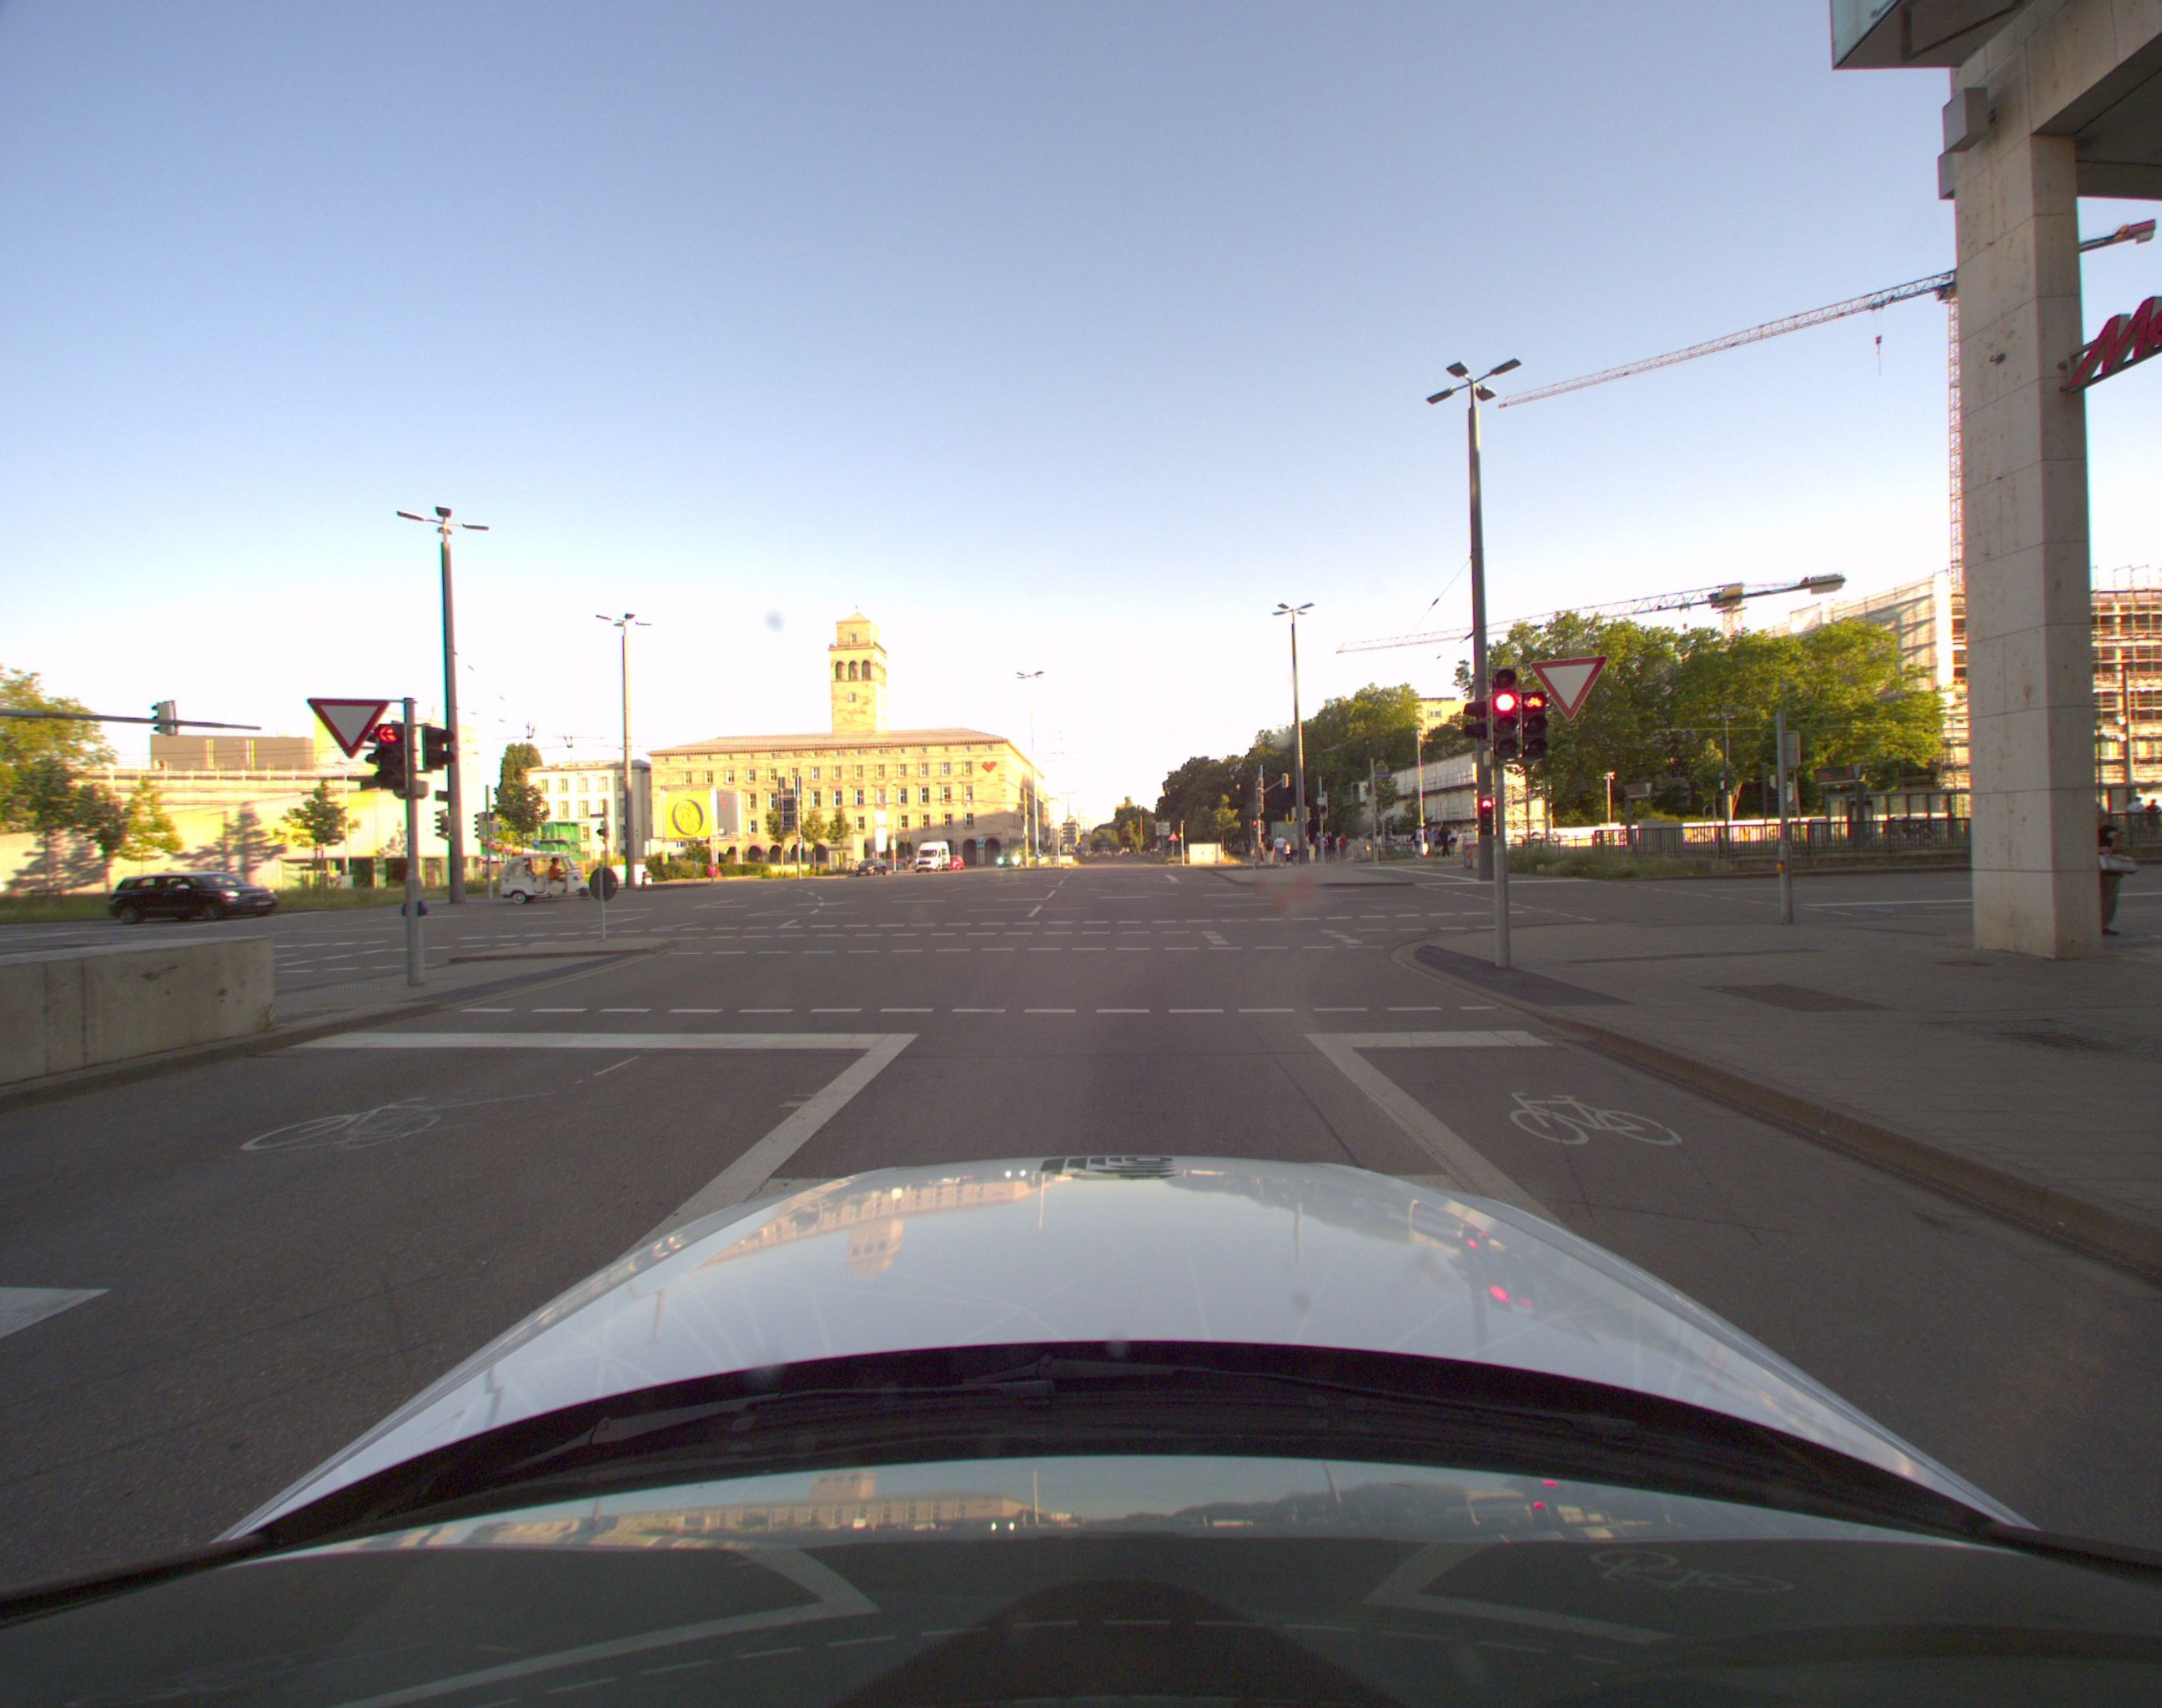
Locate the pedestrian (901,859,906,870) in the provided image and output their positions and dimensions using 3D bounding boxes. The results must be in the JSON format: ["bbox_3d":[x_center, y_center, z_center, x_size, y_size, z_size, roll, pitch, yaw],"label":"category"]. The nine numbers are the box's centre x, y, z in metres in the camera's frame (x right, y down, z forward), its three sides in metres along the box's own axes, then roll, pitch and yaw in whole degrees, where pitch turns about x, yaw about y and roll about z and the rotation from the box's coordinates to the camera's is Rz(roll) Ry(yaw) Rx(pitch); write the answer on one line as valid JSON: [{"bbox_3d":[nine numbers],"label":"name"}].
[{"bbox_3d":[-20.849,1.248,95.654,0.504,1.300,0.700,0,-1,-3],"label":"pedestrian"}]

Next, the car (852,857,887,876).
[{"bbox_3d":[-18.372,1.084,70.889,1.817,1.466,4.158,-2,1,0],"label":"car"}]

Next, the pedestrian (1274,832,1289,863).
[{"bbox_3d":[11.305,-0.358,45.834,0.707,1.725,0.670,-2,0,7],"label":"pedestrian"}]

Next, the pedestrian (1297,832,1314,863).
[{"bbox_3d":[12.802,-0.394,46.465,0.905,1.725,0.716,-2,1,14],"label":"pedestrian"}]

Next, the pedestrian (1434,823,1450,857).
[{"bbox_3d":[19.127,-0.737,43.150,0.705,1.725,0.672,-2,0,19],"label":"pedestrian"}]

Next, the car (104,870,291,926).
[{"bbox_3d":[-29.603,1.455,27.395,4.113,1.604,1.742,-2,0,-5],"label":"car"}]

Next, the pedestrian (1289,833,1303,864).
[{"bbox_3d":[12.065,-0.307,45.652,0.705,1.725,0.671,-2,1,15],"label":"pedestrian"}]

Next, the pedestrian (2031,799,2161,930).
[{"bbox_3d":[13.280,0.133,10.670,0.787,1.638,0.709,-2,0,3],"label":"pedestrian"}]

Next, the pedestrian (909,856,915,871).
[{"bbox_3d":[-20.027,1.109,96.426,0.620,1.744,0.459,0,-1,-4],"label":"pedestrian"}]

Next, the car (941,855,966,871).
[{"bbox_3d":[-12.736,0.862,81.668,1.732,1.487,4.002,-2,1,2],"label":"car"}]

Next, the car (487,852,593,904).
[{"bbox_3d":[-19.297,0.831,29.185,2.982,1.696,1.474,-2,0,-30],"label":"car"}]

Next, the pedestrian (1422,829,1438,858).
[{"bbox_3d":[19.086,-0.582,44.531,0.569,1.592,0.537,-2,0,1],"label":"pedestrian"}]

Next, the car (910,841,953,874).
[{"bbox_3d":[-13.287,0.238,72.980,2.269,2.776,6.090,-2,0,4],"label":"car"}]

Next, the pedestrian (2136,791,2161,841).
[{"bbox_3d":[44.433,-1.569,33.730,0.623,2.013,0.642,-2,0,-2],"label":"pedestrian"}]

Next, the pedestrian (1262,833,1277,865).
[{"bbox_3d":[10.392,-0.298,45.003,0.706,1.725,0.917,-2,1,9],"label":"pedestrian"}]

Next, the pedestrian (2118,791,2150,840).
[{"bbox_3d":[44.409,-1.627,34.338,0.573,2.013,0.568,-2,0,-2],"label":"pedestrian"}]

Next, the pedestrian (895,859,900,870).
[{"bbox_3d":[-21.584,1.235,95.673,0.473,1.300,0.463,0,-1,-4],"label":"pedestrian"}]

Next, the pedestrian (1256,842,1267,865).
[{"bbox_3d":[13.427,-0.054,60.624,0.555,1.654,0.907,-2,1,22],"label":"pedestrian"}]

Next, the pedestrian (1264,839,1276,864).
[{"bbox_3d":[14.031,-0.189,60.514,0.673,1.757,0.907,-2,1,22],"label":"pedestrian"}]

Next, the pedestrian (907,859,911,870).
[{"bbox_3d":[-20.090,1.213,95.220,0.420,1.300,0.459,0,-1,-3],"label":"pedestrian"}]

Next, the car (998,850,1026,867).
[{"bbox_3d":[-6.168,0.398,72.958,1.815,1.341,4.005,-2,1,4],"label":"car"}]

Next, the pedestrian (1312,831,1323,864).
[{"bbox_3d":[13.204,-0.357,45.512,0.568,1.791,0.641,-2,1,16],"label":"pedestrian"}]

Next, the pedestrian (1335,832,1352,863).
[{"bbox_3d":[14.783,-0.369,45.834,0.838,1.734,0.708,-2,1,14],"label":"pedestrian"}]

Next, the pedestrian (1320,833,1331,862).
[{"bbox_3d":[14.114,-0.366,46.953,0.568,1.678,0.641,-2,1,16],"label":"pedestrian"}]

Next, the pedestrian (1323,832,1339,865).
[{"bbox_3d":[13.948,-0.321,45.521,0.799,1.791,0.804,-2,1,16],"label":"pedestrian"}]

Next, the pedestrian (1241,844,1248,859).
[{"bbox_3d":[18.747,-0.311,93.416,0.638,1.760,0.526,-2,1,10],"label":"pedestrian"}]

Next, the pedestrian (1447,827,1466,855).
[{"bbox_3d":[20.043,-0.678,43.477,0.672,1.441,0.716,-2,0,9],"label":"pedestrian"}]

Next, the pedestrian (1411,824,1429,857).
[{"bbox_3d":[18.185,-0.728,43.689,0.662,1.725,0.714,-2,0,7],"label":"pedestrian"}]

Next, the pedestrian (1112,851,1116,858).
[{"bbox_3d":[7.940,0.185,194.874,0.903,1.671,1.307,-2,1,1],"label":"pedestrian"}]

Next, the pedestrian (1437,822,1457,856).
[{"bbox_3d":[18.743,-0.762,41.741,0.663,1.725,0.714,-2,0,3],"label":"pedestrian"}]
